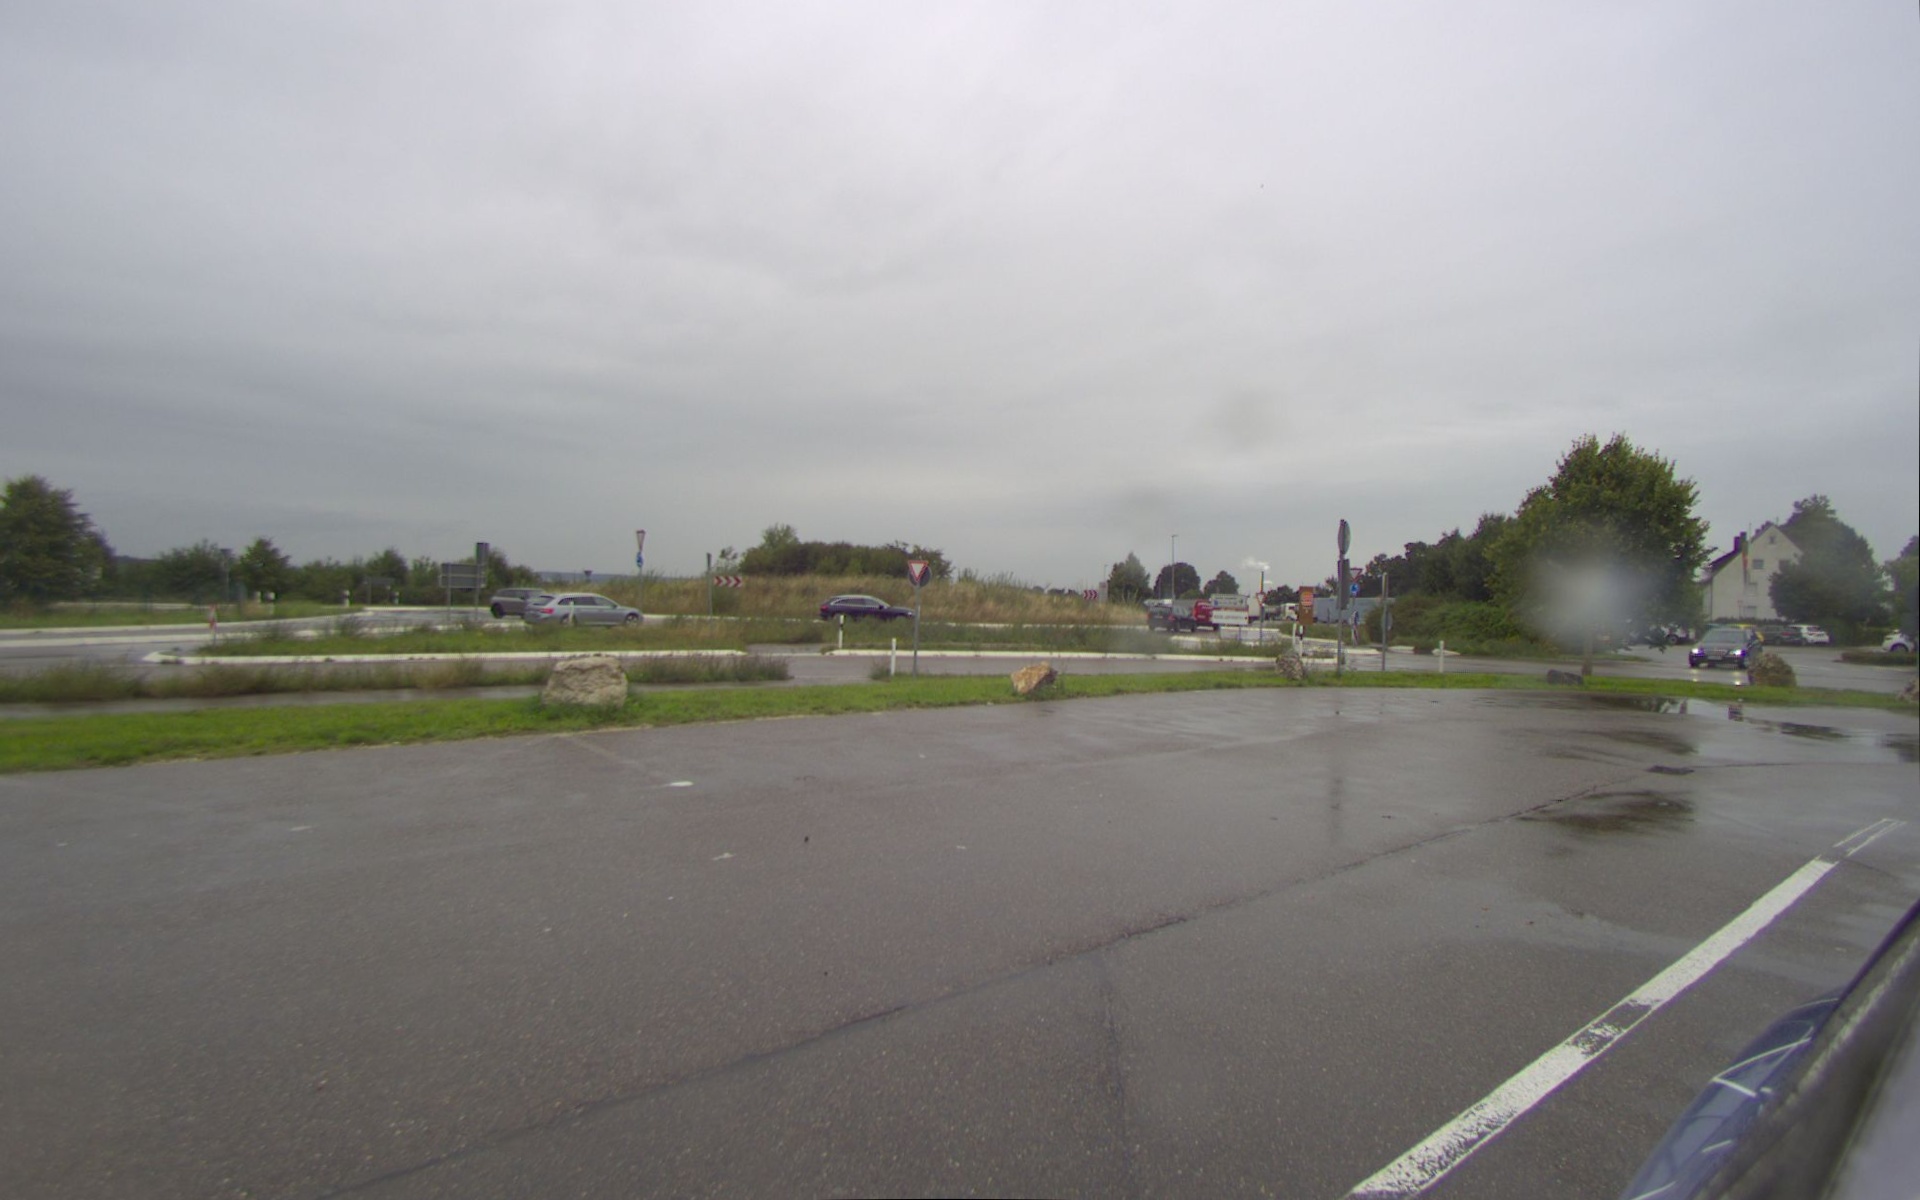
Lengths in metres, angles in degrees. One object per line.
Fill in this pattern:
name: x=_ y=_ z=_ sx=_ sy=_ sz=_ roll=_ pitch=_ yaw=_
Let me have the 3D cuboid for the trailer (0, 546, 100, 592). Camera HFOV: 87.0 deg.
trailer: x=-63.817 y=-2.068 z=67.234 sx=9.930 sy=2.939 sz=2.211 roll=1 pitch=-1 yaw=-23

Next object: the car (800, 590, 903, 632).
car: x=-4.993 y=0.498 z=46.775 sx=4.577 sy=1.704 sz=1.895 roll=2 pitch=2 yaw=-4

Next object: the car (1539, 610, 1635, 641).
car: x=37.635 y=1.515 z=60.810 sx=1.966 sy=1.744 sz=4.599 roll=2 pitch=-2 yaw=-42

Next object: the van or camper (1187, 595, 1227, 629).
van or camper: x=16.485 y=0.771 z=67.387 sx=1.976 sy=2.038 sz=4.815 roll=3 pitch=2 yaw=20

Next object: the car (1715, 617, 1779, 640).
car: x=55.217 y=1.973 z=71.067 sx=1.635 sy=1.569 sz=3.724 roll=1 pitch=-1 yaw=2

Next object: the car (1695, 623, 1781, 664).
car: x=29.728 y=1.628 z=38.638 sx=4.282 sy=1.443 sz=1.704 roll=1 pitch=-1 yaw=-40

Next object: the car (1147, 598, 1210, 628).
car: x=12.420 y=0.708 z=57.357 sx=1.987 sy=1.623 sz=4.467 roll=0 pitch=0 yaw=35

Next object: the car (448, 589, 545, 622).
car: x=-22.354 y=0.229 z=48.806 sx=4.254 sy=1.341 sz=1.746 roll=3 pitch=2 yaw=19

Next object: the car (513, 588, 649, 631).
car: x=-14.884 y=0.404 z=39.913 sx=4.586 sy=1.500 sz=1.995 roll=2 pitch=1 yaw=-45

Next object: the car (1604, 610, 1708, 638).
car: x=45.951 y=1.574 z=66.912 sx=1.966 sy=1.744 sz=5.366 roll=2 pitch=-1 yaw=-42

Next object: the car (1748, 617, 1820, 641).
car: x=57.605 y=1.984 z=70.848 sx=1.715 sy=1.590 sz=3.890 roll=1 pitch=-1 yaw=-3

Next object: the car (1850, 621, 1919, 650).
car: x=51.213 y=1.921 z=54.818 sx=1.819 sy=1.443 sz=4.350 roll=2 pitch=0 yaw=-44

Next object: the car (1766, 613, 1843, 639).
car: x=59.715 y=1.844 z=71.621 sx=1.951 sy=1.750 sz=4.002 roll=1 pitch=-1 yaw=-4
